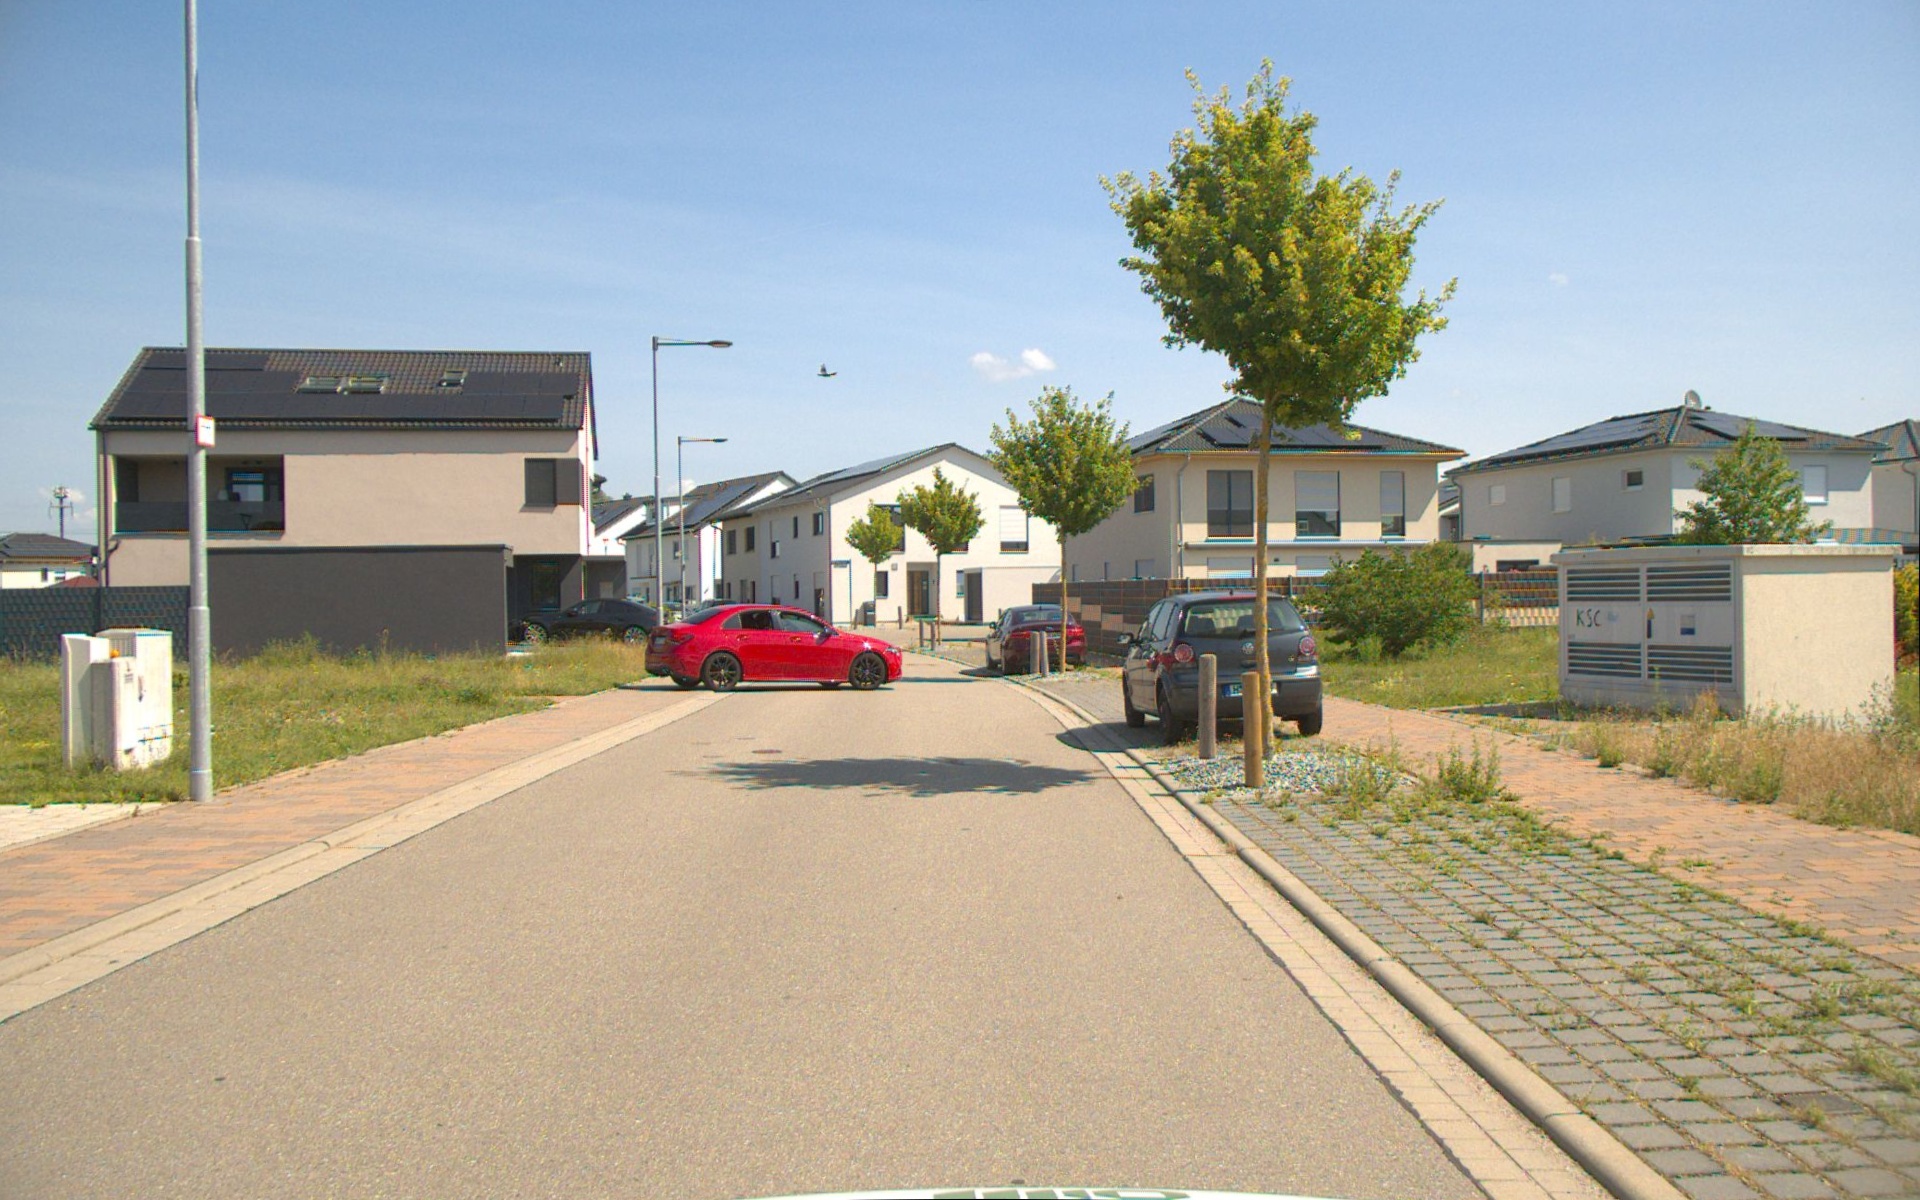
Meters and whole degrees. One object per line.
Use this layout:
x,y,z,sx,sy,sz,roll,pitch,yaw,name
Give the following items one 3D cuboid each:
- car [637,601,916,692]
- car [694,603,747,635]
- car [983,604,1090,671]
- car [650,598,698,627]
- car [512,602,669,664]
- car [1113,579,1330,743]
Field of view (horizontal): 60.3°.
-3.108,0.747,28.316,4.456,1.463,1.751,0,0,-30,car
-11.404,0.882,78.518,1.702,1.447,3.976,-2,0,-20,car
1.622,0.790,36.660,1.721,1.387,4.569,0,0,-6,car
-15.156,0.657,87.621,1.654,1.489,3.916,-2,0,-23,car
-10.711,0.957,48.217,4.295,1.660,1.767,2,-1,-10,car
2.681,0.581,17.719,1.566,1.501,3.673,-3,0,-2,car
